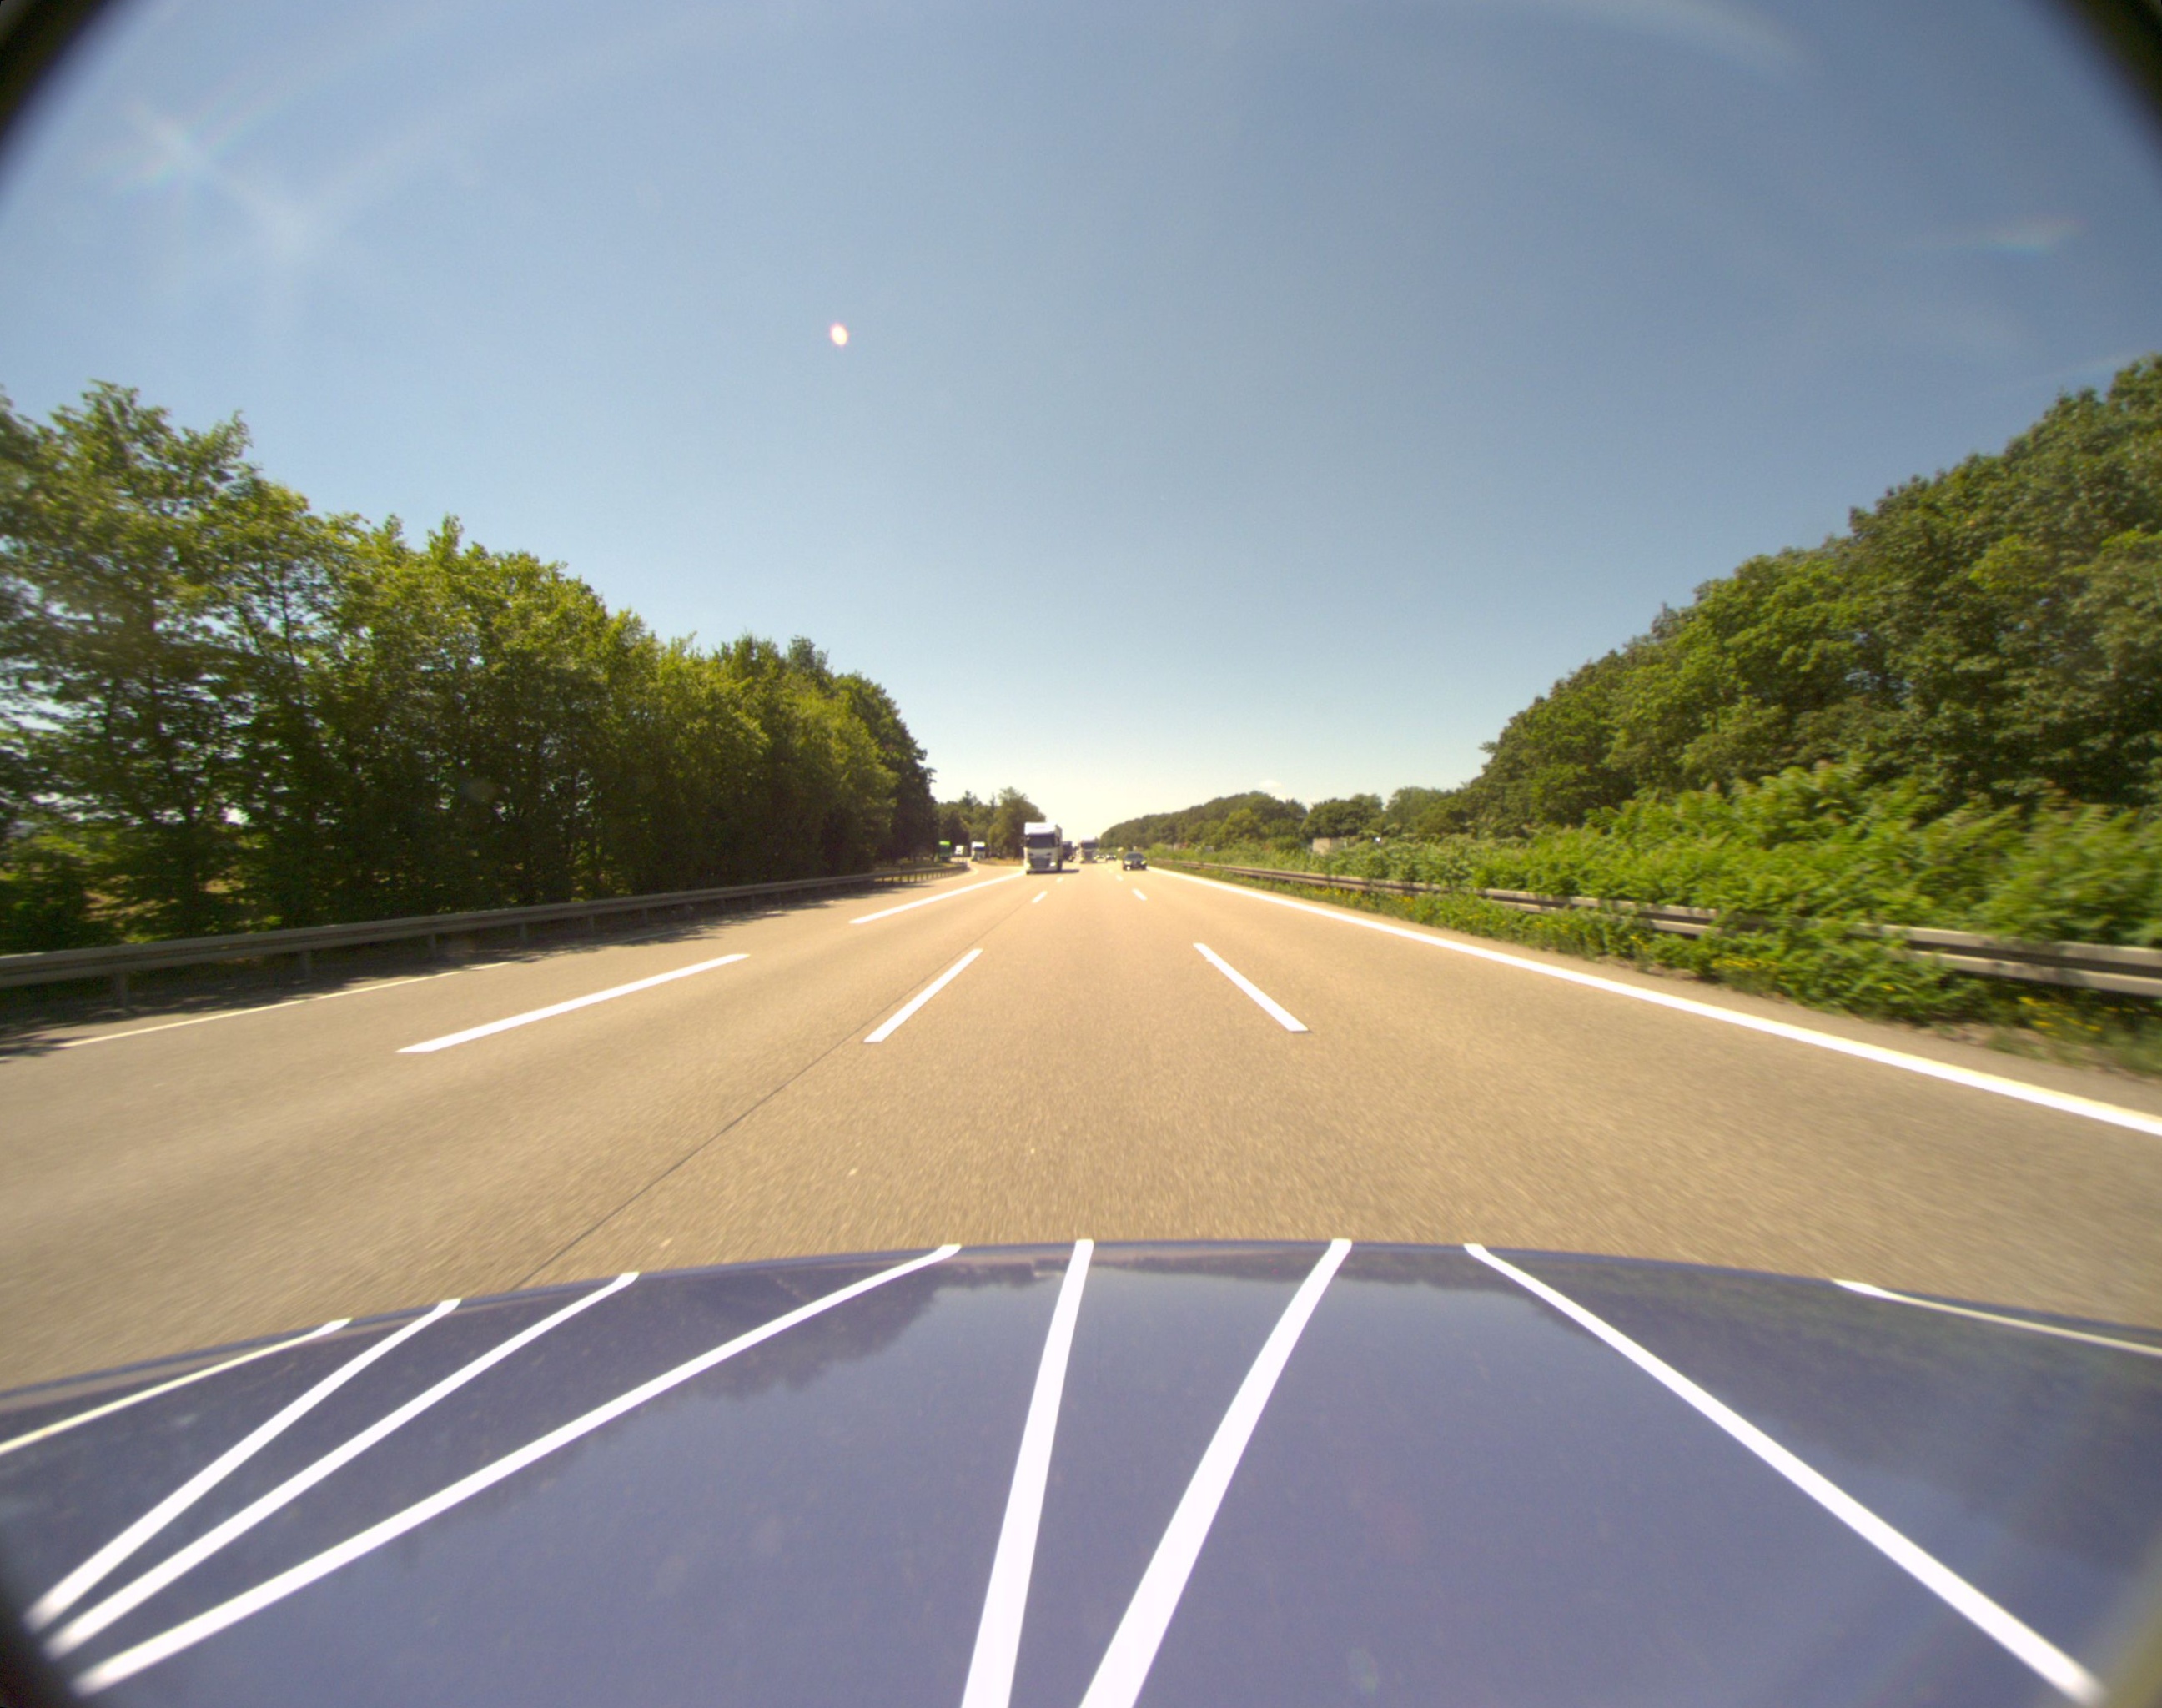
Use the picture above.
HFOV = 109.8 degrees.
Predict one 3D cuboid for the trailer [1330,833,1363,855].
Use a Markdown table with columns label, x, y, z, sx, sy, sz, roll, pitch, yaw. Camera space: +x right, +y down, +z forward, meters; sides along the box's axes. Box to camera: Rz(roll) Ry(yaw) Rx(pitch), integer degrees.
| label | x | y | z | sx | sy | sz | roll | pitch | yaw |
| --- | --- | --- | --- | --- | --- | --- | --- | --- | --- |
| trailer | 57.521 | -2.032 | 165.151 | 3.608 | 4.565 | 14.028 | 0 | 0 | 6 |

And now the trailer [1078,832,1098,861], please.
| label | x | y | z | sx | sy | sz | roll | pitch | yaw |
| --- | --- | --- | --- | --- | --- | --- | --- | --- | --- |
| trailer | 1.125 | -1.115 | 119.135 | 2.863 | 4.247 | 11.470 | -2 | 1 | 0 |

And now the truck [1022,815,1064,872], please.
| label | x | y | z | sx | sy | sz | roll | pitch | yaw |
| --- | --- | --- | --- | --- | --- | --- | --- | --- | --- |
| truck | -2.976 | -0.825 | 61.272 | 2.863 | 4.247 | 6.863 | -2 | 1 | 0 |

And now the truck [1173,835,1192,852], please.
| label | x | y | z | sx | sy | sz | roll | pitch | yaw |
| --- | --- | --- | --- | --- | --- | --- | --- | --- | --- |
| truck | 22.625 | -2.256 | 169.487 | 3.206 | 3.559 | 6.995 | -2 | 1 | 1 |

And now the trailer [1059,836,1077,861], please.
| label | x | y | z | sx | sy | sz | roll | pitch | yaw |
| --- | --- | --- | --- | --- | --- | --- | --- | --- | --- |
| trailer | -2.211 | -0.912 | 133.894 | 2.863 | 4.247 | 11.470 | -1 | 0 | 0 |

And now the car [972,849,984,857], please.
| label | x | y | z | sx | sy | sz | roll | pitch | yaw |
| --- | --- | --- | --- | --- | --- | --- | --- | --- | --- |
| car | -21.725 | -0.249 | 160.330 | 1.999 | 1.700 | 4.677 | 1 | 0 | -3 |

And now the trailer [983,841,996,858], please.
| label | x | y | z | sx | sy | sz | roll | pitch | yaw |
| --- | --- | --- | --- | --- | --- | --- | --- | --- | --- |
| trailer | -24.871 | -1.196 | 207.211 | 3.394 | 4.437 | 18.115 | -1 | 0 | -6 |

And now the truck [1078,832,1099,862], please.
| label | x | y | z | sx | sy | sz | roll | pitch | yaw |
| --- | --- | --- | --- | --- | --- | --- | --- | --- | --- |
| truck | 1.078 | -1.051 | 112.573 | 2.863 | 4.247 | 5.410 | -2 | 1 | 0 |

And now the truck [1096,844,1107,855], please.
| label | x | y | z | sx | sy | sz | roll | pitch | yaw |
| --- | --- | --- | --- | --- | --- | --- | --- | --- | --- |
| truck | 5.040 | -1.113 | 185.098 | 2.576 | 2.461 | 5.614 | -2 | 1 | 0 |

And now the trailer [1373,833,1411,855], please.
| label | x | y | z | sx | sy | sz | roll | pitch | yaw |
| --- | --- | --- | --- | --- | --- | --- | --- | --- | --- |
| trailer | 52.620 | -1.671 | 129.153 | 3.606 | 3.634 | 14.036 | 0 | 0 | 12 |

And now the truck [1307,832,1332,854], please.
| label | x | y | z | sx | sy | sz | roll | pitch | yaw |
| --- | --- | --- | --- | --- | --- | --- | --- | --- | --- |
| truck | 46.939 | -2.181 | 149.744 | 3.222 | 4.112 | 7.394 | -2 | 1 | 6 |

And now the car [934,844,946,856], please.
| label | x | y | z | sx | sy | sz | roll | pitch | yaw |
| --- | --- | --- | --- | --- | --- | --- | --- | --- | --- |
| car | -30.325 | -0.875 | 163.386 | 2.315 | 2.568 | 6.642 | 1 | 0 | -10 |

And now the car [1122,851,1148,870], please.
| label | x | y | z | sx | sy | sz | roll | pitch | yaw |
| --- | --- | --- | --- | --- | --- | --- | --- | --- | --- |
| car | 4.452 | 0.532 | 63.405 | 1.811 | 1.399 | 4.000 | -3 | 0 | 0 |

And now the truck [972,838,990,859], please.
| label | x | y | z | sx | sy | sz | roll | pitch | yaw |
| --- | --- | --- | --- | --- | --- | --- | --- | --- | --- |
| truck | -22.538 | -1.210 | 170.693 | 3.395 | 4.437 | 7.382 | -2 | 1 | -10 |

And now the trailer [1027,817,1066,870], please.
| label | x | y | z | sx | sy | sz | roll | pitch | yaw |
| --- | --- | --- | --- | --- | --- | --- | --- | --- | --- |
| trailer | -3.038 | -0.908 | 70.296 | 2.863 | 4.247 | 14.978 | -2 | 1 | 0 |

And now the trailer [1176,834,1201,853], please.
| label | x | y | z | sx | sy | sz | roll | pitch | yaw |
| --- | --- | --- | --- | --- | --- | --- | --- | --- | --- |
| trailer | 22.485 | -2.161 | 160.056 | 3.206 | 3.559 | 15.967 | -2 | 1 | 1 |

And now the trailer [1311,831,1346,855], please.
| label | x | y | z | sx | sy | sz | roll | pitch | yaw |
| --- | --- | --- | --- | --- | --- | --- | --- | --- | --- |
| trailer | 46.171 | -2.079 | 142.174 | 3.222 | 4.112 | 14.055 | -2 | 1 | 6 |

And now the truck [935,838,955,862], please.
| label | x | y | z | sx | sy | sz | roll | pitch | yaw |
| --- | --- | --- | --- | --- | --- | --- | --- | --- | --- |
| truck | -25.677 | -0.805 | 143.226 | 3.395 | 4.233 | 6.609 | -2 | 1 | -12 |

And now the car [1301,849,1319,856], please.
| label | x | y | z | sx | sy | sz | roll | pitch | yaw |
| --- | --- | --- | --- | --- | --- | --- | --- | --- | --- |
| car | 49.006 | -0.367 | 162.834 | 1.807 | 1.596 | 4.180 | 0 | 0 | -13 |

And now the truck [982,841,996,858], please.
| label | x | y | z | sx | sy | sz | roll | pitch | yaw |
| --- | --- | --- | --- | --- | --- | --- | --- | --- | --- |
| truck | -23.929 | -1.149 | 198.629 | 3.394 | 4.437 | 8.228 | -1 | 1 | -6 |

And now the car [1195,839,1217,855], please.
| label | x | y | z | sx | sy | sz | roll | pitch | yaw |
| --- | --- | --- | --- | --- | --- | --- | --- | --- | --- |
| car | 17.925 | -1.025 | 109.315 | 2.151 | 2.043 | 6.633 | -2 | 1 | 1 |

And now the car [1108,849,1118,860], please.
| label | x | y | z | sx | sy | sz | roll | pitch | yaw |
| --- | --- | --- | --- | --- | --- | --- | --- | --- | --- |
| car | 5.695 | 0.084 | 135.771 | 1.806 | 1.774 | 3.999 | -1 | 1 | 1 |

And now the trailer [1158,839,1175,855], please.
| label | x | y | z | sx | sy | sz | roll | pitch | yaw |
| --- | --- | --- | --- | --- | --- | --- | --- | --- | --- |
| trailer | 22.888 | -1.890 | 203.644 | 3.206 | 3.803 | 14.022 | -2 | 1 | 1 |

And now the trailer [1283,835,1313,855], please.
| label | x | y | z | sx | sy | sz | roll | pitch | yaw |
| --- | --- | --- | --- | --- | --- | --- | --- | --- | --- |
| trailer | 52.360 | -2.115 | 184.005 | 3.609 | 4.565 | 14.023 | 0 | 0 | 2 |
